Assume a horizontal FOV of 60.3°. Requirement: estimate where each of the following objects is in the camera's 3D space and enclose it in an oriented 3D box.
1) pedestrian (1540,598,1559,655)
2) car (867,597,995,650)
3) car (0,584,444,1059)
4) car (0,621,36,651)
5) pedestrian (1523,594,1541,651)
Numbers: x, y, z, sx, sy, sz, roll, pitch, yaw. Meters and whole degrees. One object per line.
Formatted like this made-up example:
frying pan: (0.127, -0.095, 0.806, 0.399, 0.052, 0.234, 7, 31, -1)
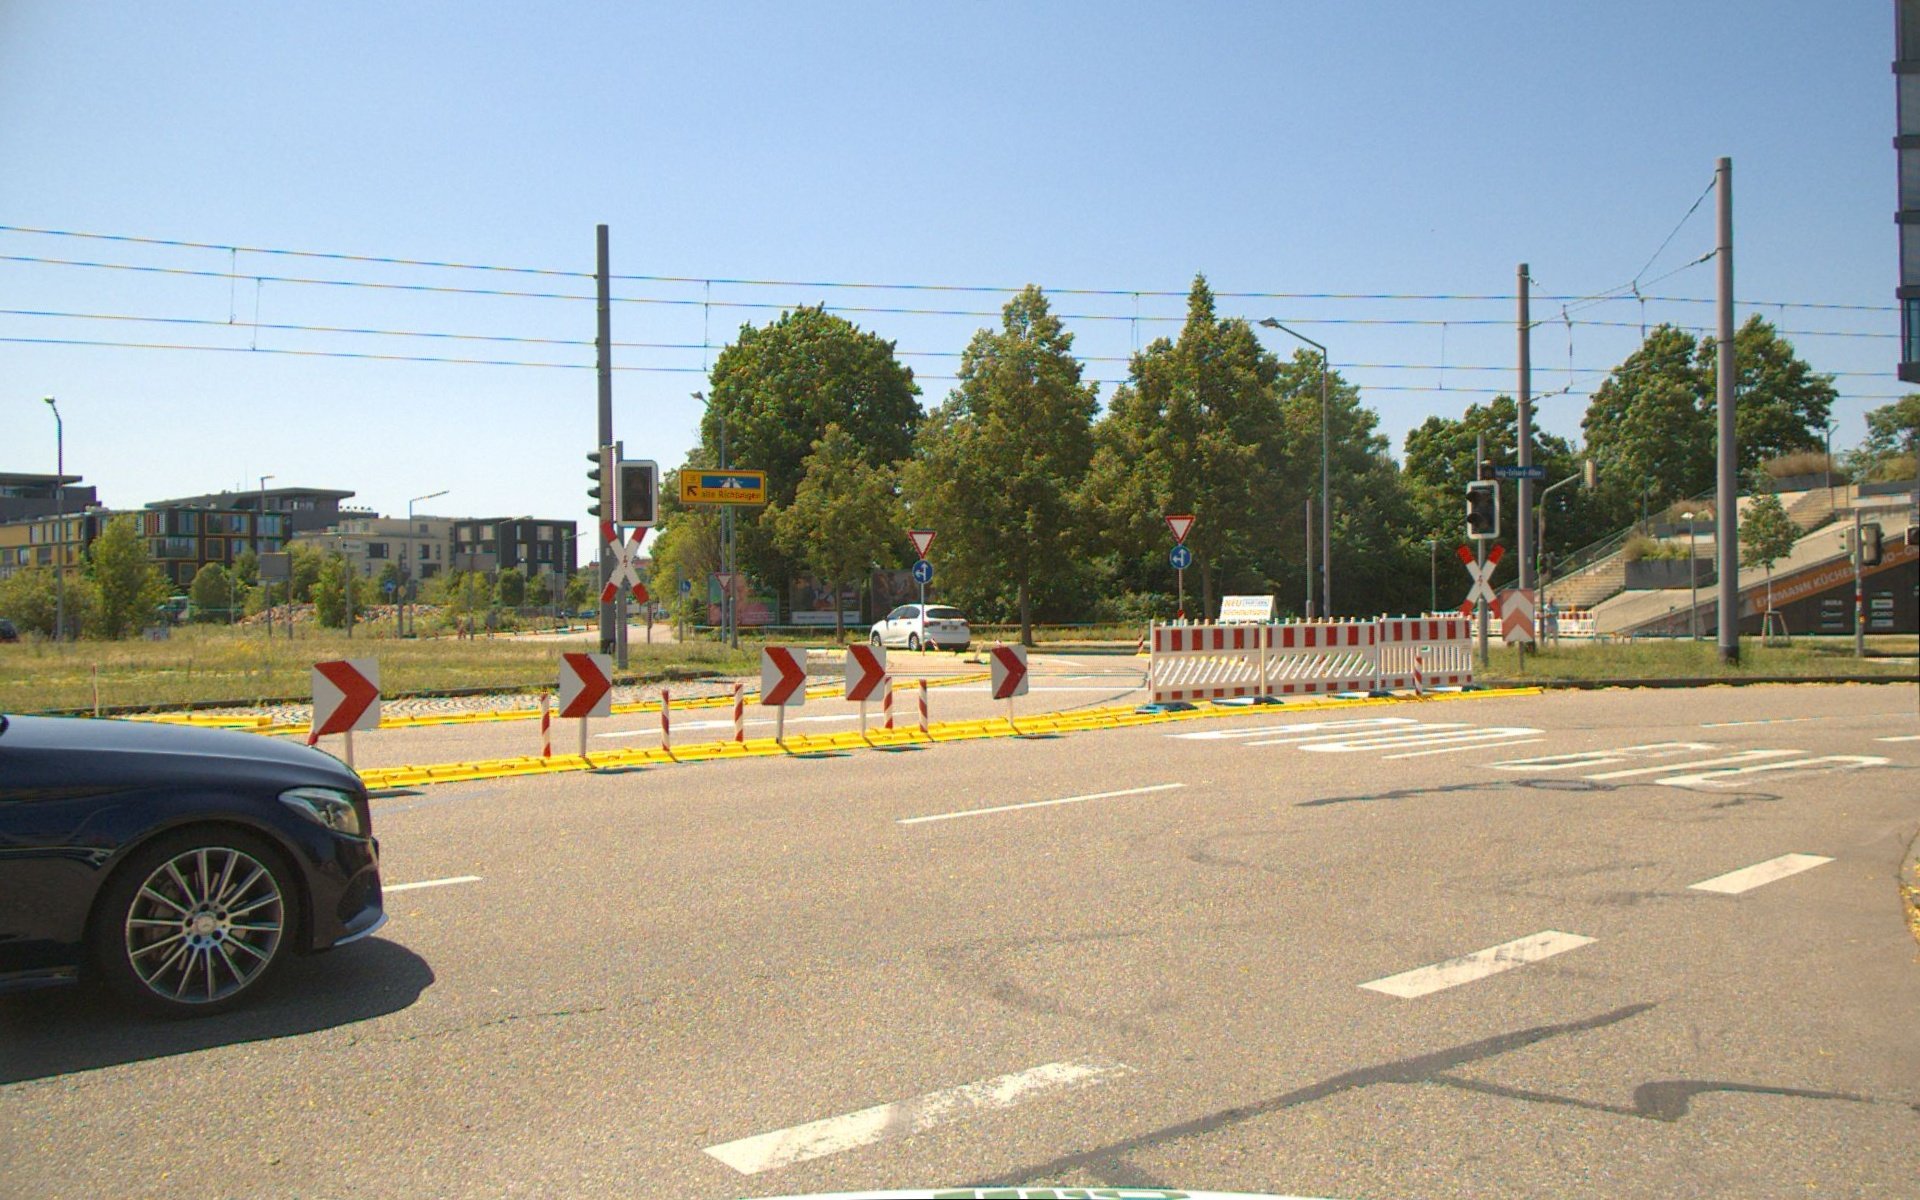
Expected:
pedestrian: (18.379, 0.828, 51.545, 0.439, 1.769, 0.318, 0, 0, -4)
car: (-0.930, 0.705, 50.682, 1.975, 1.512, 4.317, -1, 0, -32)
car: (-4.353, 0.704, 5.228, 4.901, 1.461, 1.834, -1, 0, -36)
car: (-37.654, 1.408, 63.498, 3.444, 1.109, 1.495, -1, 0, -9)
pedestrian: (17.820, 0.704, 51.551, 0.439, 1.769, 0.291, 0, 0, -4)
